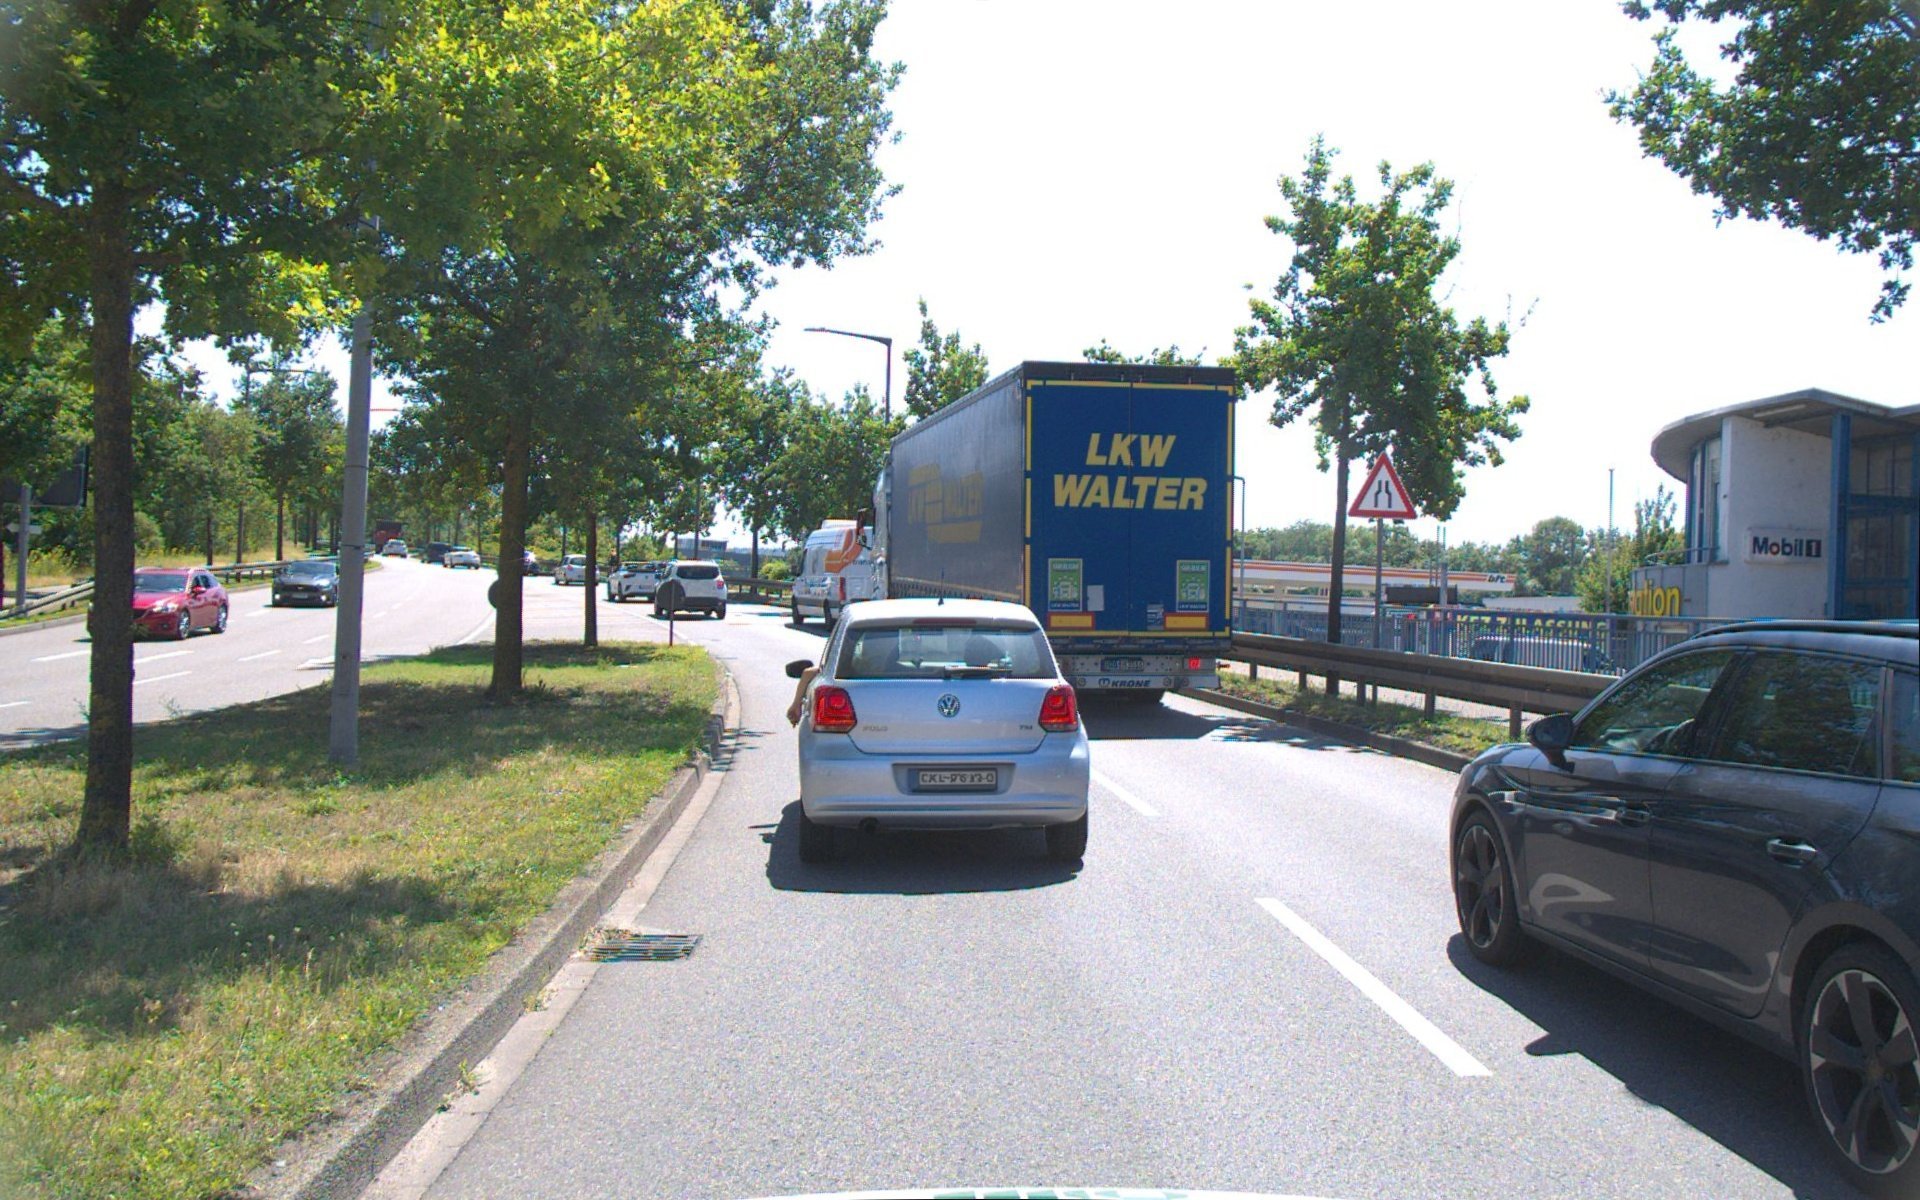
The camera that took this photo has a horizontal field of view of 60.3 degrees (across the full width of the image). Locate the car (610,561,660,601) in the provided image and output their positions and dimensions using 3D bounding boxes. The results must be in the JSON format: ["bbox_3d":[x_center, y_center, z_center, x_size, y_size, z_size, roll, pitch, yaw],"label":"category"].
[{"bbox_3d":[-12.131,-0.716,61.626,1.471,1.383,3.645,1,0,-17],"label":"car"}]

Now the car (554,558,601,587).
[{"bbox_3d":[-18.969,-1.371,81.992,1.587,1.383,3.635,1,0,-24],"label":"car"}]

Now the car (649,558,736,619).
[{"bbox_3d":[-8.100,-0.329,49.847,1.875,1.748,4.200,1,0,-19],"label":"car"}]

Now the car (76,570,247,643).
[{"bbox_3d":[-17.308,0.149,36.092,1.794,1.462,4.522,-1,0,-4],"label":"car"}]

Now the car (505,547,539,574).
[{"bbox_3d":[-25.741,-2.289,97.144,1.640,1.490,3.561,1,0,-19],"label":"car"}]

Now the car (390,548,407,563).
[{"bbox_3d":[-48.169,-3.825,141.830,1.302,1.158,2.978,1,0,-20],"label":"car"}]

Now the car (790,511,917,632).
[{"bbox_3d":[-2.966,-0.788,44.327,2.140,2.951,6.334,1,1,-15],"label":"car"}]

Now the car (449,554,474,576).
[{"bbox_3d":[-33.124,-2.322,109.872,1.434,1.337,3.618,1,0,-19],"label":"car"}]

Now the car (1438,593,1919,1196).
[{"bbox_3d":[3.072,0.746,5.327,1.573,1.481,4.231,1,0,-4],"label":"car"}]

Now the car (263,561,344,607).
[{"bbox_3d":[-20.857,-0.474,52.698,1.779,1.357,4.552,1,0,-14],"label":"car"}]

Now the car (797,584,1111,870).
[{"bbox_3d":[-0.145,0.676,10.387,1.613,1.464,3.534,1,0,-4],"label":"car"}]

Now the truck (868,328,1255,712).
[{"bbox_3d":[0.719,-0.960,26.879,2.781,4.271,16.441,1,0,-9],"label":"truck"}]

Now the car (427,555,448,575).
[{"bbox_3d":[-38.284,-2.560,121.228,1.396,1.337,3.319,1,0,-19],"label":"car"}]
